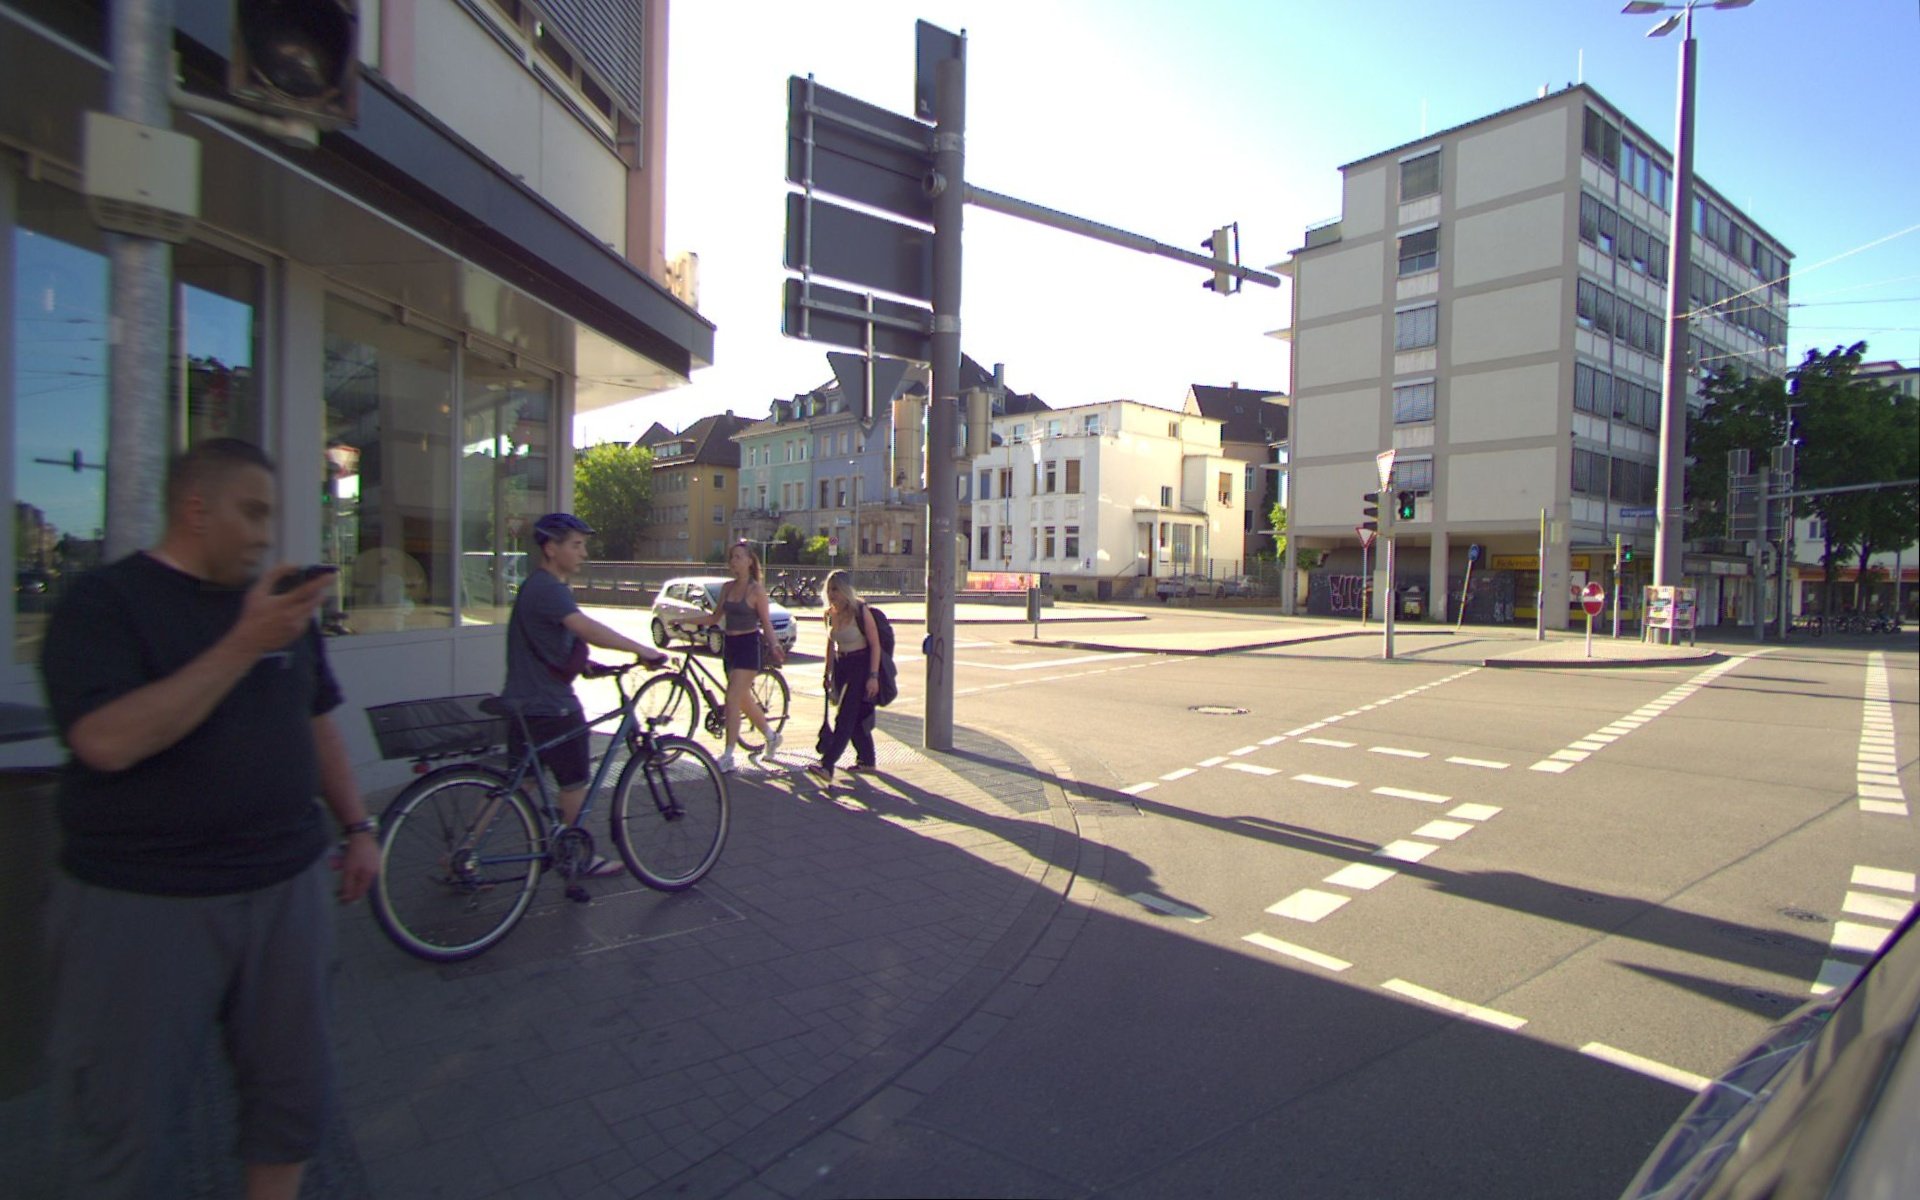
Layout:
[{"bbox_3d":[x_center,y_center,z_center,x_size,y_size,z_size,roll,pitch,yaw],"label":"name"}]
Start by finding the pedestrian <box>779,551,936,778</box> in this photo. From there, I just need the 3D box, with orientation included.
[{"bbox_3d":[-0.774,0.453,7.711,0.778,1.596,0.855,1,0,39],"label":"pedestrian"}]

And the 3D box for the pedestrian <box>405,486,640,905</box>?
[{"bbox_3d":[-2.017,0.396,4.802,0.822,1.776,0.919,1,1,-10],"label":"pedestrian"}]

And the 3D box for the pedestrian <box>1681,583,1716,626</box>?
[{"bbox_3d":[28.522,0.145,39.074,0.863,1.622,0.845,0,1,-36],"label":"pedestrian"}]

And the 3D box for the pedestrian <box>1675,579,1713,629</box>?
[{"bbox_3d":[26.121,0.140,36.022,0.863,1.728,0.845,0,1,-36],"label":"pedestrian"}]

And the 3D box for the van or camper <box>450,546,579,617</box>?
[{"bbox_3d":[-13.762,-0.619,31.077,2.007,1.976,5.252,0,2,-43],"label":"van or camper"}]

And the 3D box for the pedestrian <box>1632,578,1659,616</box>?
[{"bbox_3d":[26.189,-0.118,38.681,0.609,1.440,0.647,0,1,-35],"label":"pedestrian"}]

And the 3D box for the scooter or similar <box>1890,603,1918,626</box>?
[{"bbox_3d":[46.117,0.708,49.435,0.157,1.039,0.967,1,2,-33],"label":"scooter or similar"}]

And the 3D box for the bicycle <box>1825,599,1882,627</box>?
[{"bbox_3d":[39.537,0.565,44.816,0.428,1.165,1.814,0,2,-40],"label":"bicycle"}]

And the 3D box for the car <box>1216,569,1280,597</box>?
[{"bbox_3d":[16.947,-0.981,59.393,3.956,1.580,1.784,0,2,-42],"label":"car"}]

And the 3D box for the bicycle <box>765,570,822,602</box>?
[{"bbox_3d":[-5.787,-0.484,35.250,1.962,1.094,0.595,0,1,-43],"label":"bicycle"}]

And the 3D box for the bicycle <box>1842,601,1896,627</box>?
[{"bbox_3d":[42.510,0.633,47.339,1.851,1.069,0.393,5,3,44],"label":"bicycle"}]

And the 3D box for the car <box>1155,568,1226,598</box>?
[{"bbox_3d":[12.601,-0.928,55.165,3.957,1.577,1.799,0,2,-42],"label":"car"}]

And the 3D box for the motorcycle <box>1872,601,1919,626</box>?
[{"bbox_3d":[44.605,0.641,48.072,0.494,1.143,1.793,0,1,-35],"label":"motorcycle"}]

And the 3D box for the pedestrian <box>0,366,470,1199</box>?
[{"bbox_3d":[-1.439,0.565,1.771,0.902,1.804,0.627,0,1,-43],"label":"pedestrian"}]

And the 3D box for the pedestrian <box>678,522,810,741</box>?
[{"bbox_3d":[-1.643,0.213,7.758,0.524,1.574,0.857,1,1,34],"label":"pedestrian"}]

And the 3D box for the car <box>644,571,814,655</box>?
[{"bbox_3d":[-4.796,0.187,20.708,1.773,1.449,3.848,-3,4,-41],"label":"car"}]

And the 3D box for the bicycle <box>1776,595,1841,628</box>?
[{"bbox_3d":[34.050,0.460,40.655,0.471,1.170,1.897,0,4,-35],"label":"bicycle"}]

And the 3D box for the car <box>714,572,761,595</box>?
[{"bbox_3d":[-16.845,-1.227,76.519,1.662,1.616,3.884,0,2,-44],"label":"car"}]

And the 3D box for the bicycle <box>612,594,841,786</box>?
[{"bbox_3d":[-1.766,0.618,7.947,0.542,1.300,1.884,1,1,34],"label":"bicycle"}]

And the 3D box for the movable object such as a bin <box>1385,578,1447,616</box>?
[{"bbox_3d":[19.204,-0.157,42.645,1.424,1.487,1.917,-1,3,-35],"label":"movable object such as a bin"}]

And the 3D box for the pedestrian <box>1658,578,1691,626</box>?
[{"bbox_3d":[26.441,0.072,37.472,0.877,1.742,0.833,2,1,42],"label":"pedestrian"}]

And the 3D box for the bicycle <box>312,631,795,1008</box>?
[{"bbox_3d":[-1.559,0.752,4.281,0.486,1.176,1.949,1,0,34],"label":"bicycle"}]
